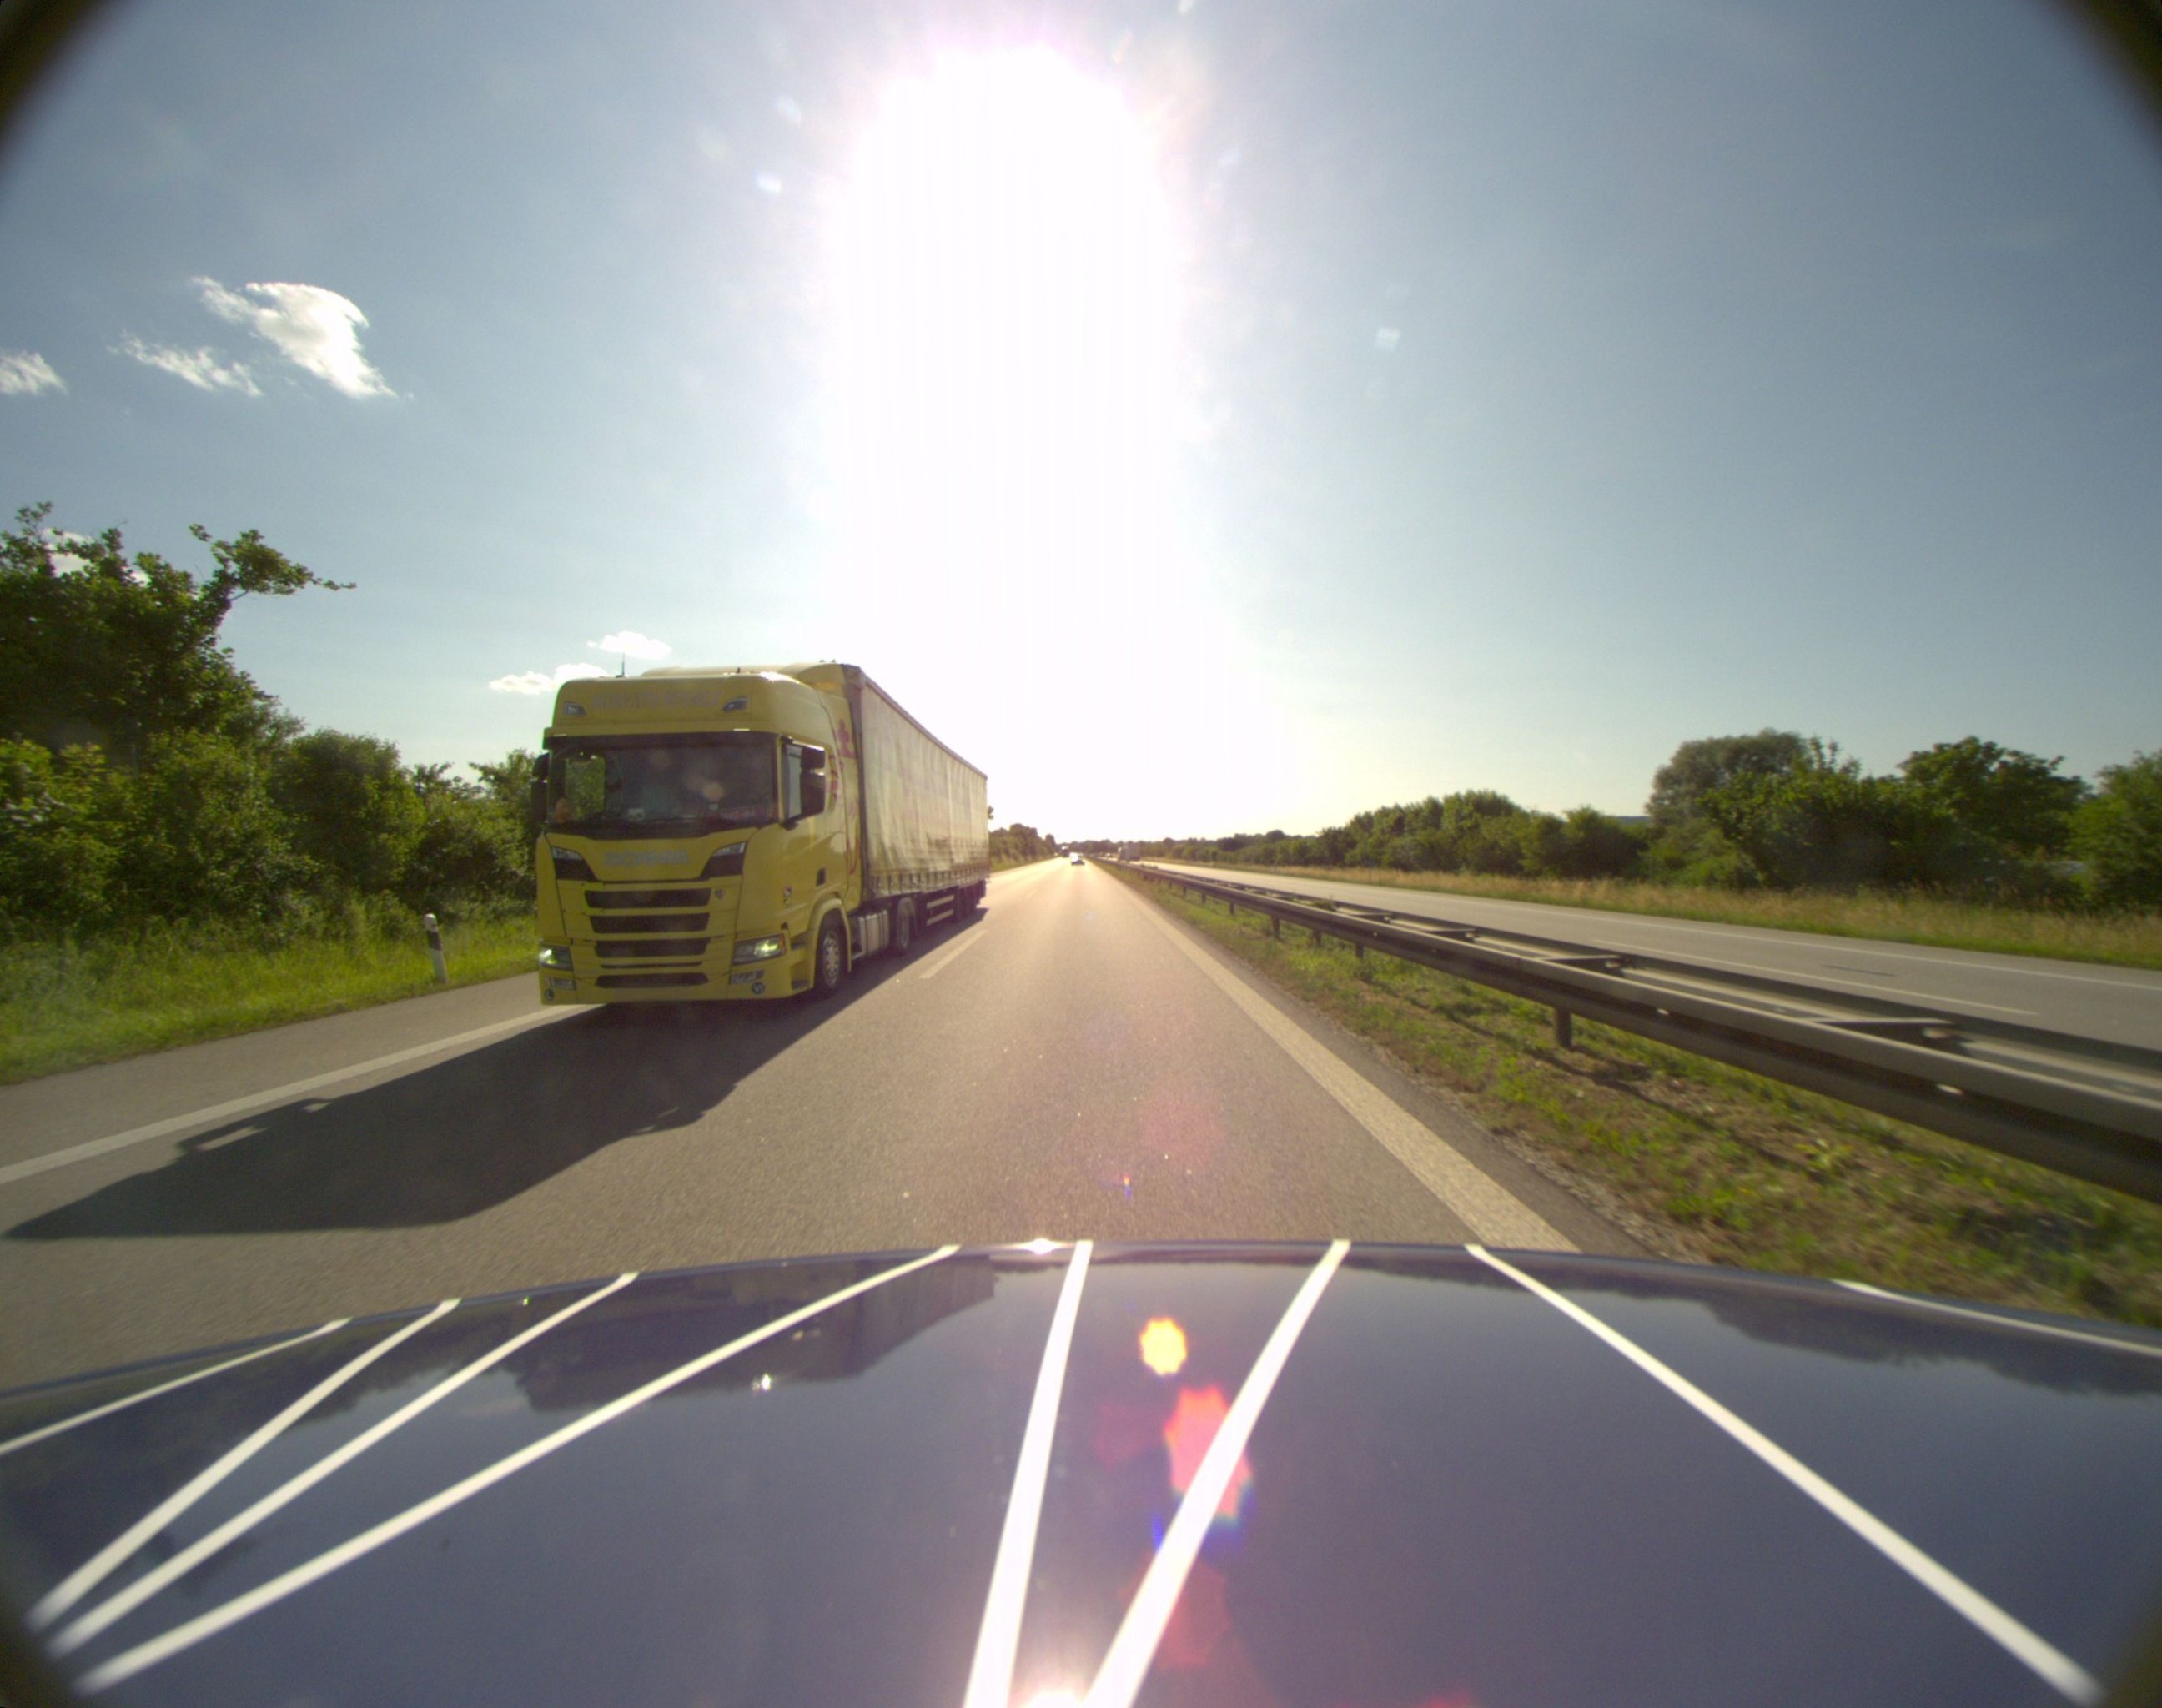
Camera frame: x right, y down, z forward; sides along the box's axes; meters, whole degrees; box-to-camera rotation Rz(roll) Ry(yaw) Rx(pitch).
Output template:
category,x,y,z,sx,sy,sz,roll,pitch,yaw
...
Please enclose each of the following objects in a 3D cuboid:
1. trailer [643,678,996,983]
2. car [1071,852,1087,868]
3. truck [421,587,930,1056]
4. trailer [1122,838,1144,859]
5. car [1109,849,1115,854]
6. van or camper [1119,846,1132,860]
category,x,y,z,sx,sy,sz,roll,pitch,yaw
trailer,-4.298,-0.383,16.975,3.193,4.036,13.184,-2,1,0
car,-0.234,0.765,101.600,1.999,2.002,4.358,-2,1,-1
truck,-4.256,-0.323,10.019,3.177,4.090,6.386,-2,1,-1
trailer,11.019,-1.178,162.380,3.193,4.036,14.594,2,1,-1
car,9.919,-0.861,242.832,1.730,1.573,4.767,2,1,0
van or camper,8.181,-0.206,140.473,1.999,2.482,7.226,1,1,0
